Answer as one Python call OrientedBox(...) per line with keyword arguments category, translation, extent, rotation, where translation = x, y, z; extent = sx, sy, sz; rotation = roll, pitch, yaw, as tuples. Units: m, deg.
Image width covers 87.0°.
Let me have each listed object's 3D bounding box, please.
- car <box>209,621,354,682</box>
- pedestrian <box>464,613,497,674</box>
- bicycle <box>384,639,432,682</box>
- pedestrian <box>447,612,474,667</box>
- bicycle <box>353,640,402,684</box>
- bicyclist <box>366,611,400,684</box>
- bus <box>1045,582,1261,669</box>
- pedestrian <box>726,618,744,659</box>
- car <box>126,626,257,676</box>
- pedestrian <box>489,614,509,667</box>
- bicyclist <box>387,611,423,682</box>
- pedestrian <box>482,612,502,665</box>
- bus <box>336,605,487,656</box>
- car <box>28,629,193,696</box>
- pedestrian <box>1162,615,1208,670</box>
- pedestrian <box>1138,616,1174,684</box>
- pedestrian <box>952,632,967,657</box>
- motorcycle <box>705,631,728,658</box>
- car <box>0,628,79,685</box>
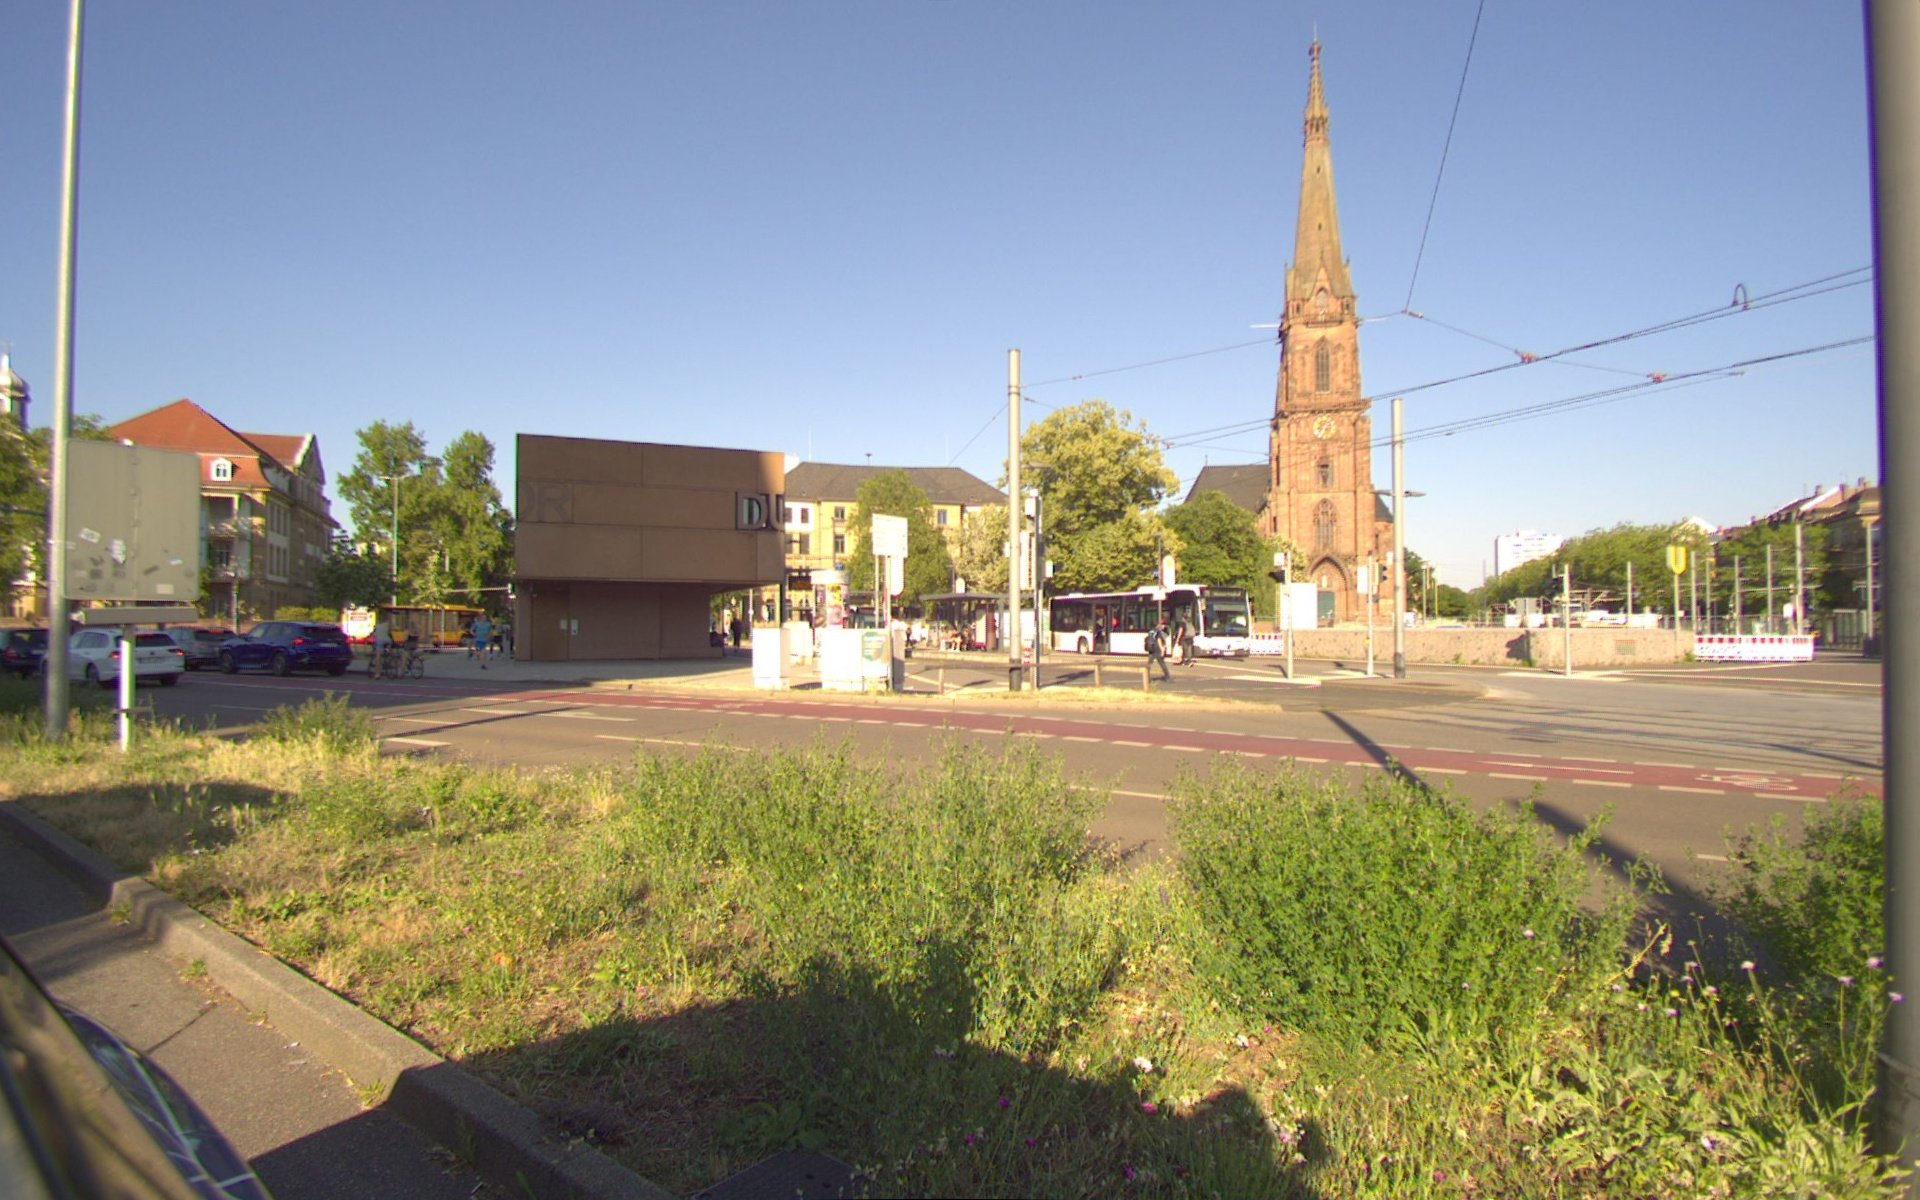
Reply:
OrientedBox(category="car", translation=(-20.173, 1.491, 30.083), extent=(4.166, 1.703, 1.741), rotation=(-1, -1, 26))
OrientedBox(category="pedestrian", translation=(-15.268, 1.390, 32.236), extent=(0.787, 1.911, 0.612), rotation=(0, -2, -9))
OrientedBox(category="bicycle", translation=(-15.926, 1.736, 29.178), extent=(1.388, 1.201, 0.461), rotation=(-1, 0, 23))
OrientedBox(category="pedestrian", translation=(-18.912, 1.492, 38.337), extent=(0.765, 2.029, 0.775), rotation=(-1, 0, -37))
OrientedBox(category="bicycle", translation=(-16.446, 1.743, 28.591), extent=(1.388, 1.201, 0.461), rotation=(-1, 0, 23))
OrientedBox(category="bicyclist", translation=(-16.250, 1.325, 28.518), extent=(0.562, 2.029, 0.605), rotation=(-1, -2, 25))
OrientedBox(category="bus", translation=(7.723, 0.965, 43.300), extent=(2.655, 3.174, 12.216), rotation=(-1, 0, -23))
OrientedBox(category="pedestrian", translation=(-11.211, 1.914, 50.471), extent=(0.762, 2.029, 0.778), rotation=(-1, 0, -2))
OrientedBox(category="car", translation=(-25.168, 1.650, 33.108), extent=(4.375, 1.503, 1.831), rotation=(-1, -4, 30))
OrientedBox(category="pedestrian", translation=(-18.072, 1.577, 39.696), extent=(0.645, 2.029, 0.470), rotation=(-1, 0, -29))
OrientedBox(category="bicyclist", translation=(-16.019, 1.341, 29.213), extent=(0.705, 2.029, 0.605), rotation=(-1, -2, 25))
OrientedBox(category="pedestrian", translation=(-17.902, 1.466, 38.722), extent=(0.645, 2.029, 0.470), rotation=(-1, 0, -29))
OrientedBox(category="bus", translation=(-38.963, 2.036, 72.734), extent=(3.049, 3.236, 12.522), rotation=(-1, 0, 6))
OrientedBox(category="car", translation=(-21.481, 1.507, 25.563), extent=(4.375, 1.503, 1.831), rotation=(-1, 0, 30))
OrientedBox(category="pedestrian", translation=(7.234, 1.360, 32.600), extent=(1.025, 1.696, 1.007), rotation=(-1, 0, -25))
OrientedBox(category="pedestrian", translation=(5.205, 1.317, 26.852), extent=(0.702, 1.771, 0.584), rotation=(-1, 0, -30))
OrientedBox(category="pedestrian", translation=(-0.044, 2.191, 50.047), extent=(0.531, 1.196, 0.660), rotation=(-1, 0, -21))
OrientedBox(category="motorcycle", translation=(-10.117, 1.837, 42.078), extent=(0.935, 1.075, 0.331), rotation=(-1, 0, -11))
OrientedBox(category="car", translation=(-26.905, 1.549, 28.595), extent=(4.170, 1.471, 1.739), rotation=(-1, 0, 29))
